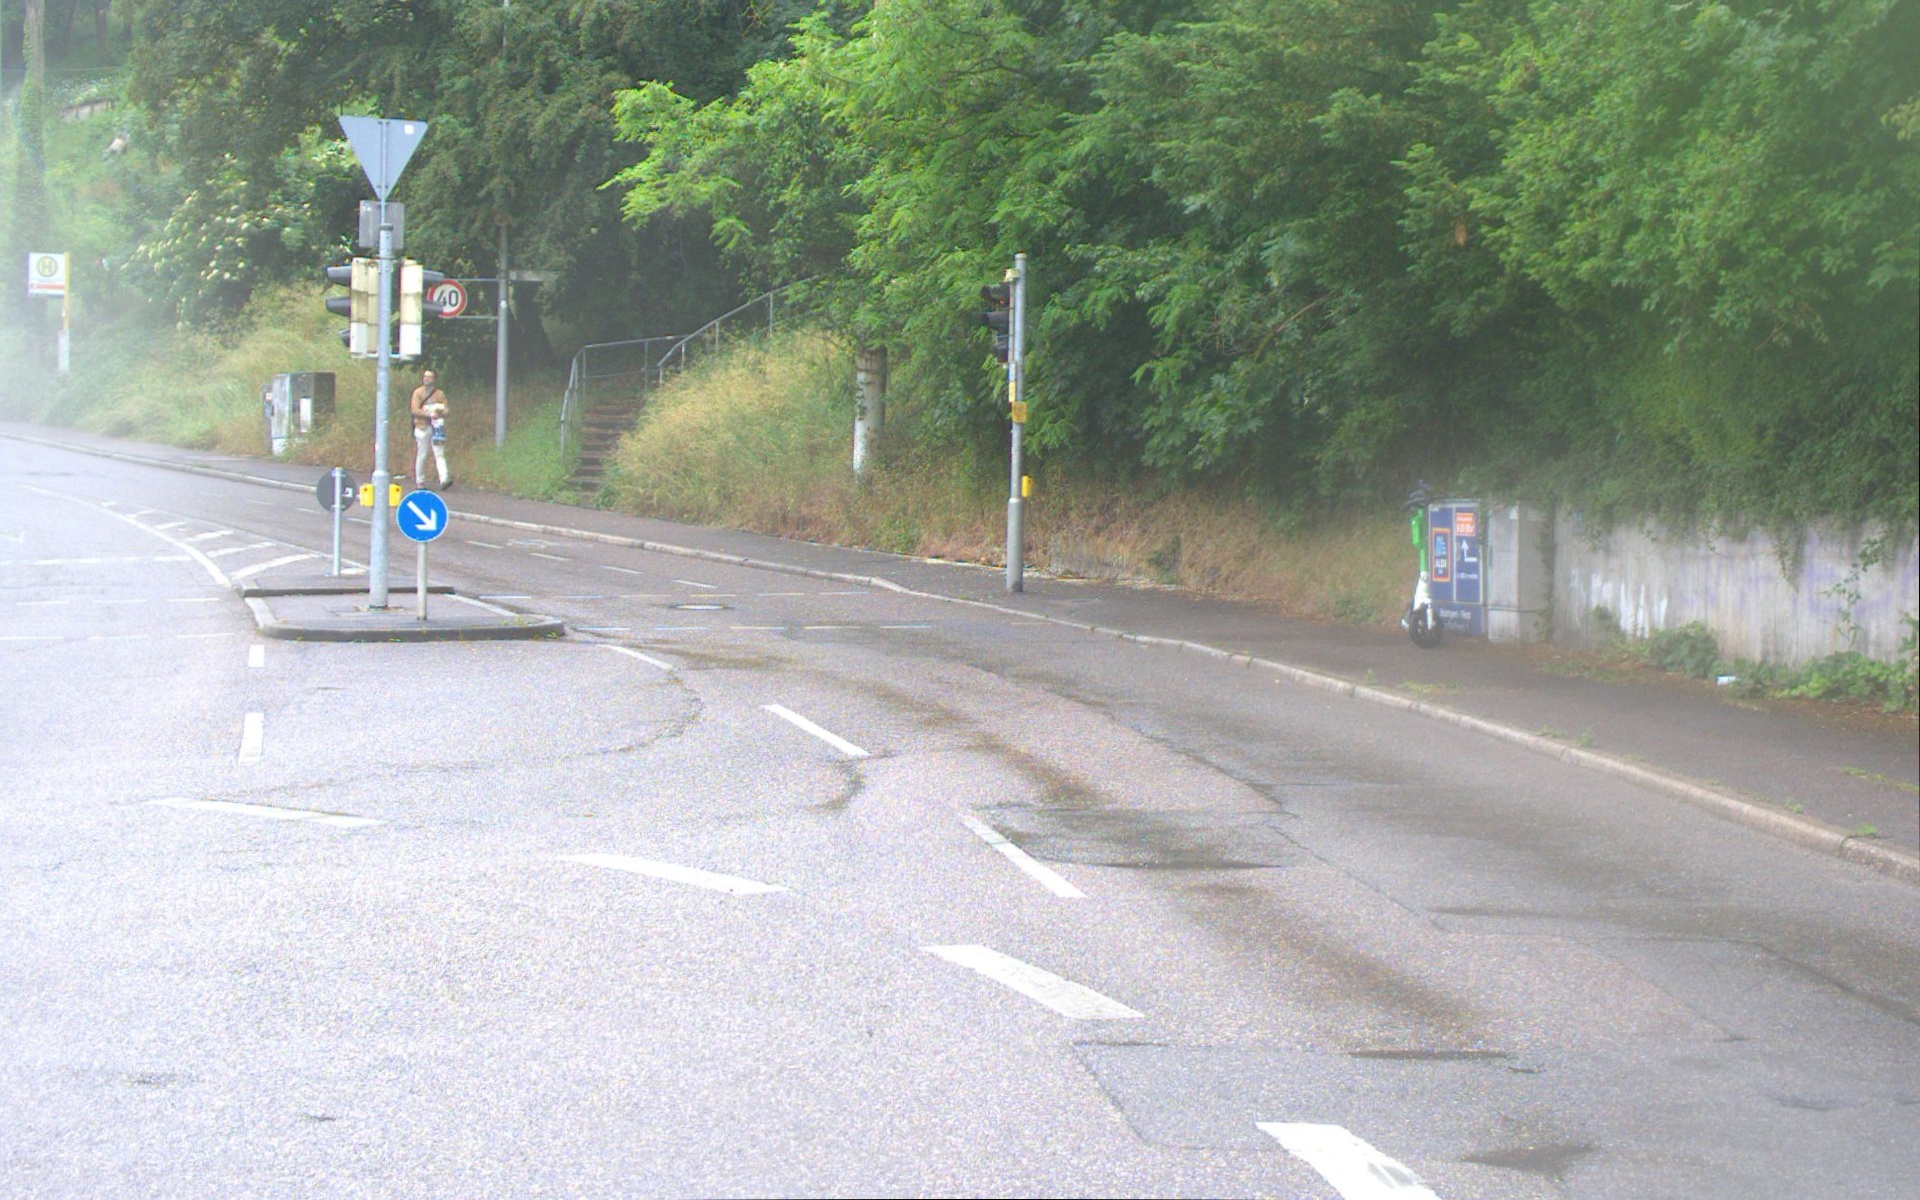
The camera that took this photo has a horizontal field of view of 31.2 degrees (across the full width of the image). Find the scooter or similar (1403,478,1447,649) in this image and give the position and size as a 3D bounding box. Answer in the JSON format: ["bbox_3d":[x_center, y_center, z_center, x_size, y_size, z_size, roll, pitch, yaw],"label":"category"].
[{"bbox_3d":[3.582,-0.292,26.493,0.322,1.275,0.751,0,4,7],"label":"scooter or similar"}]

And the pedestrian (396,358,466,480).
[{"bbox_3d":[-7.717,-2.632,50.138,0.880,1.730,0.866,0,0,-17],"label":"pedestrian"}]
